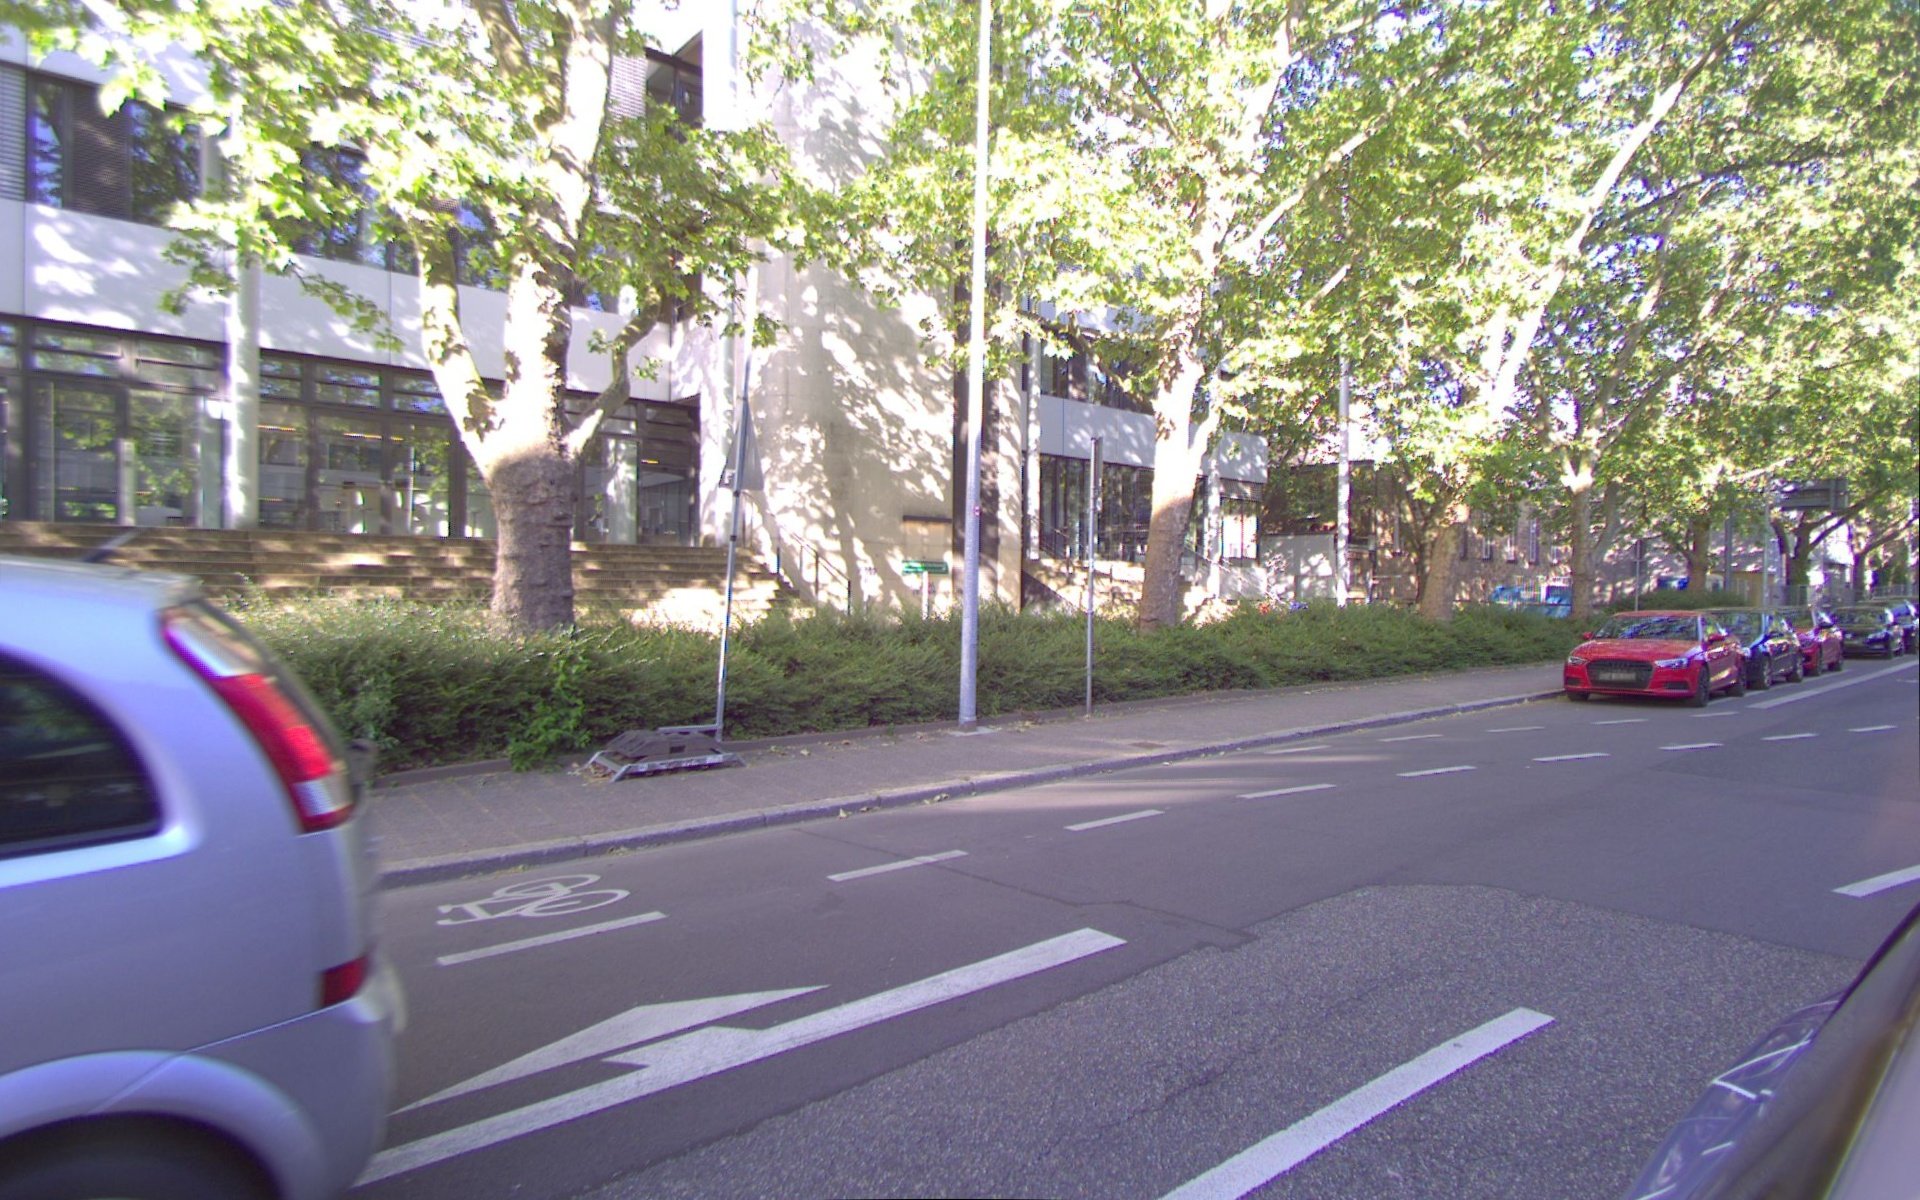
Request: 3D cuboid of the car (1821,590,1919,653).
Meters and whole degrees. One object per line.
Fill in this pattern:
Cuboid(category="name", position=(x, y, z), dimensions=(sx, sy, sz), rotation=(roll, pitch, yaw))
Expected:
Cuboid(category="car", position=(25.972, 0.564, 28.787), dimensions=(4.022, 1.653, 1.739), rotation=(0, 1, -42))

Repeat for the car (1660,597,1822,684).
Cuboid(category="car", position=(14.969, 0.705, 19.326), dimensions=(4.022, 1.472, 1.739), rotation=(0, -1, -42))

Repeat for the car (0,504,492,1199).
Cuboid(category="car", position=(-2.913, 0.663, 1.450), dimensions=(3.790, 1.623, 1.705), rotation=(0, 0, -39))

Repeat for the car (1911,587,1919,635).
Cuboid(category="car", position=(38.857, 0.431, 39.865), dimensions=(3.829, 1.818, 1.739), rotation=(0, 1, -42))

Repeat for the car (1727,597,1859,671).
Cuboid(category="car", position=(18.604, 0.700, 22.551), dimensions=(3.851, 1.511, 1.679), rotation=(0, -1, -42))

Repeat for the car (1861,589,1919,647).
Cuboid(category="car", position=(29.681, 0.525, 31.795), dimensions=(3.840, 1.708, 1.633), rotation=(0, 1, -42))

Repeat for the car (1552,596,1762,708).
Cuboid(category="car", position=(11.176, 0.731, 16.125), dimensions=(4.071, 1.548, 1.827), rotation=(0, -1, -42))
